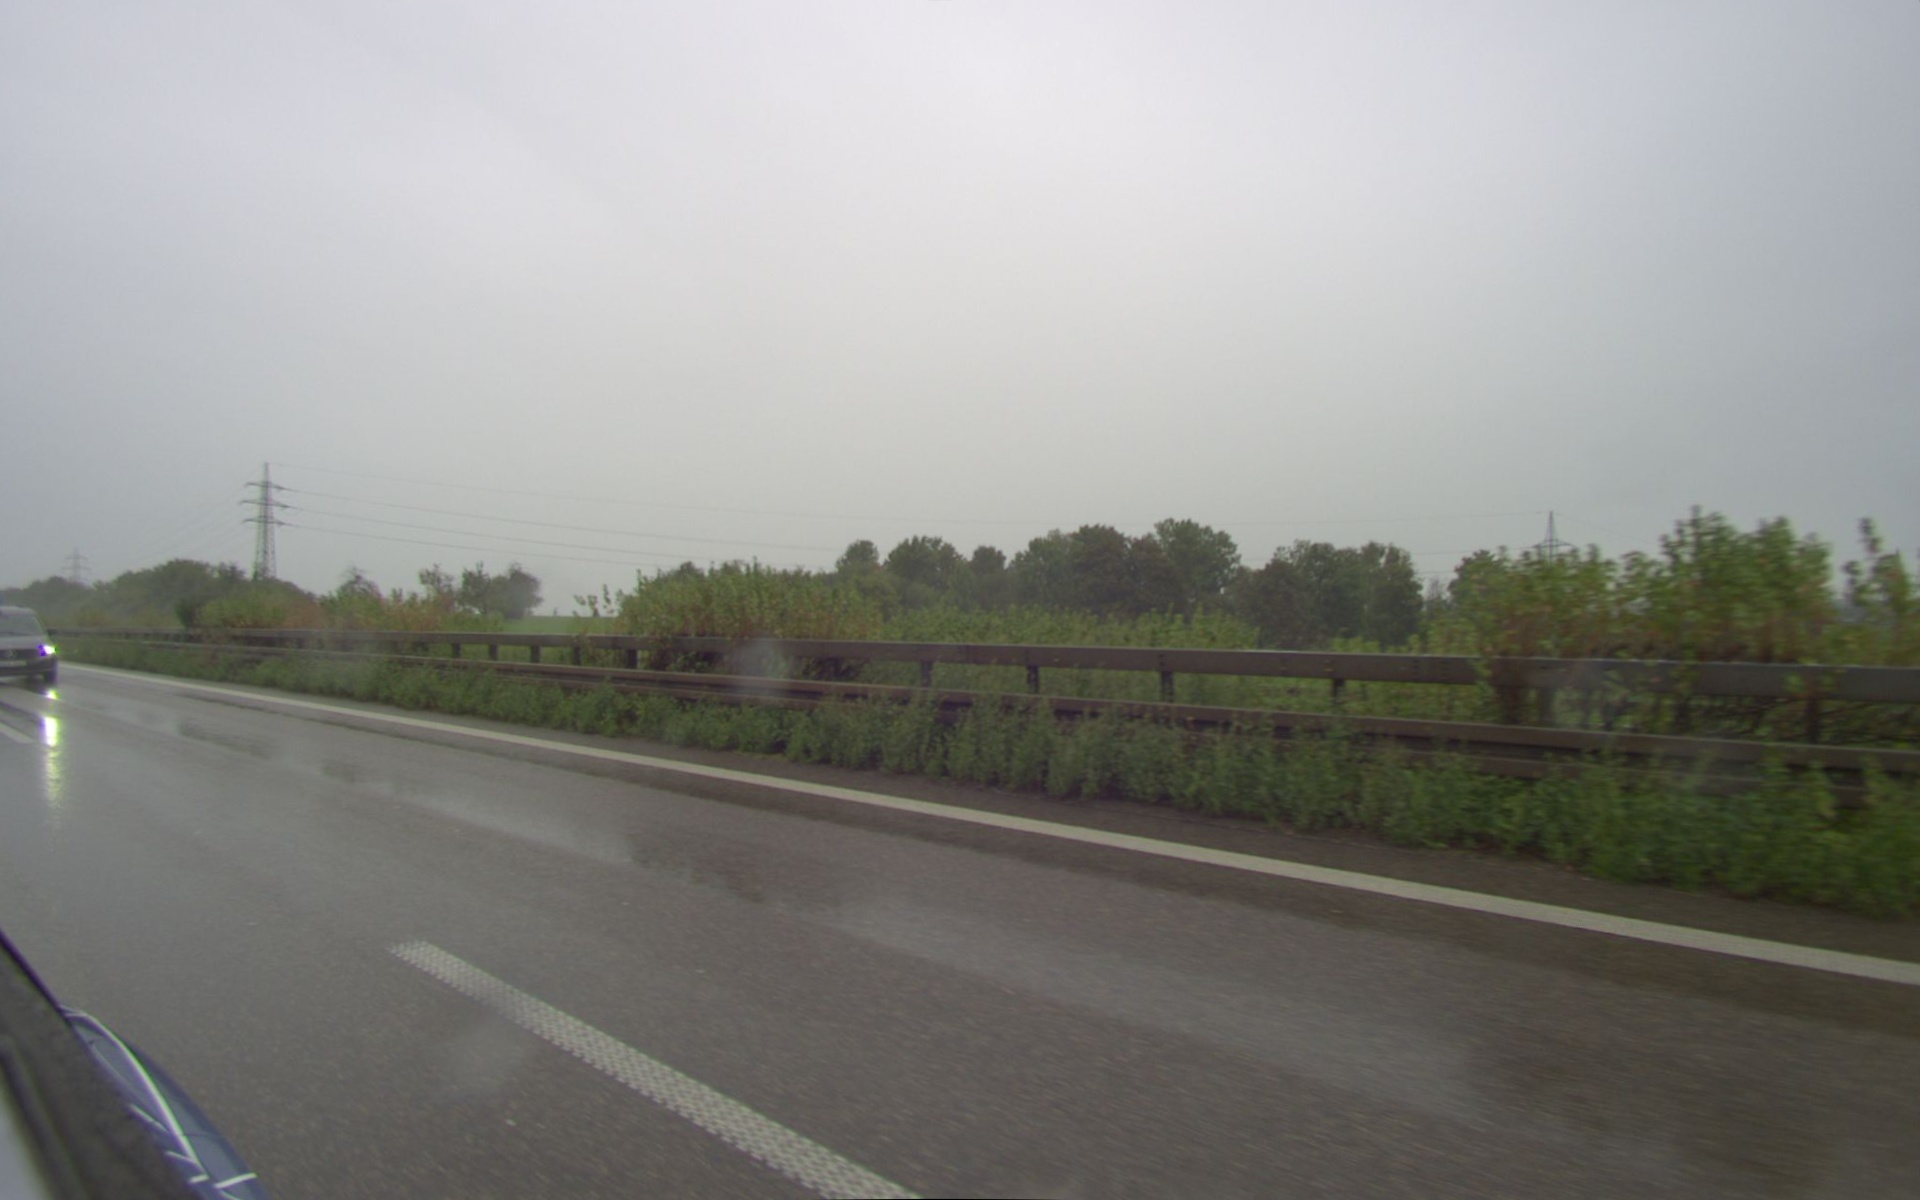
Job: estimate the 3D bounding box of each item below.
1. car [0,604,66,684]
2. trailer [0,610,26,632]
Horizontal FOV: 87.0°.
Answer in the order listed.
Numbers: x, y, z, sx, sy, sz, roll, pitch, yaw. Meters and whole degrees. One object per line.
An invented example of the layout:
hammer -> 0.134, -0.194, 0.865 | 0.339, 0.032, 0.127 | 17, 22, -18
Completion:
car -> -23.018, 1.017, 24.194 | 4.500, 1.787, 2.020 | -1, -1, 43
trailer -> -138.623, 3.004, 147.986 | 8.261, 3.088, 2.223 | -1, 0, 41
